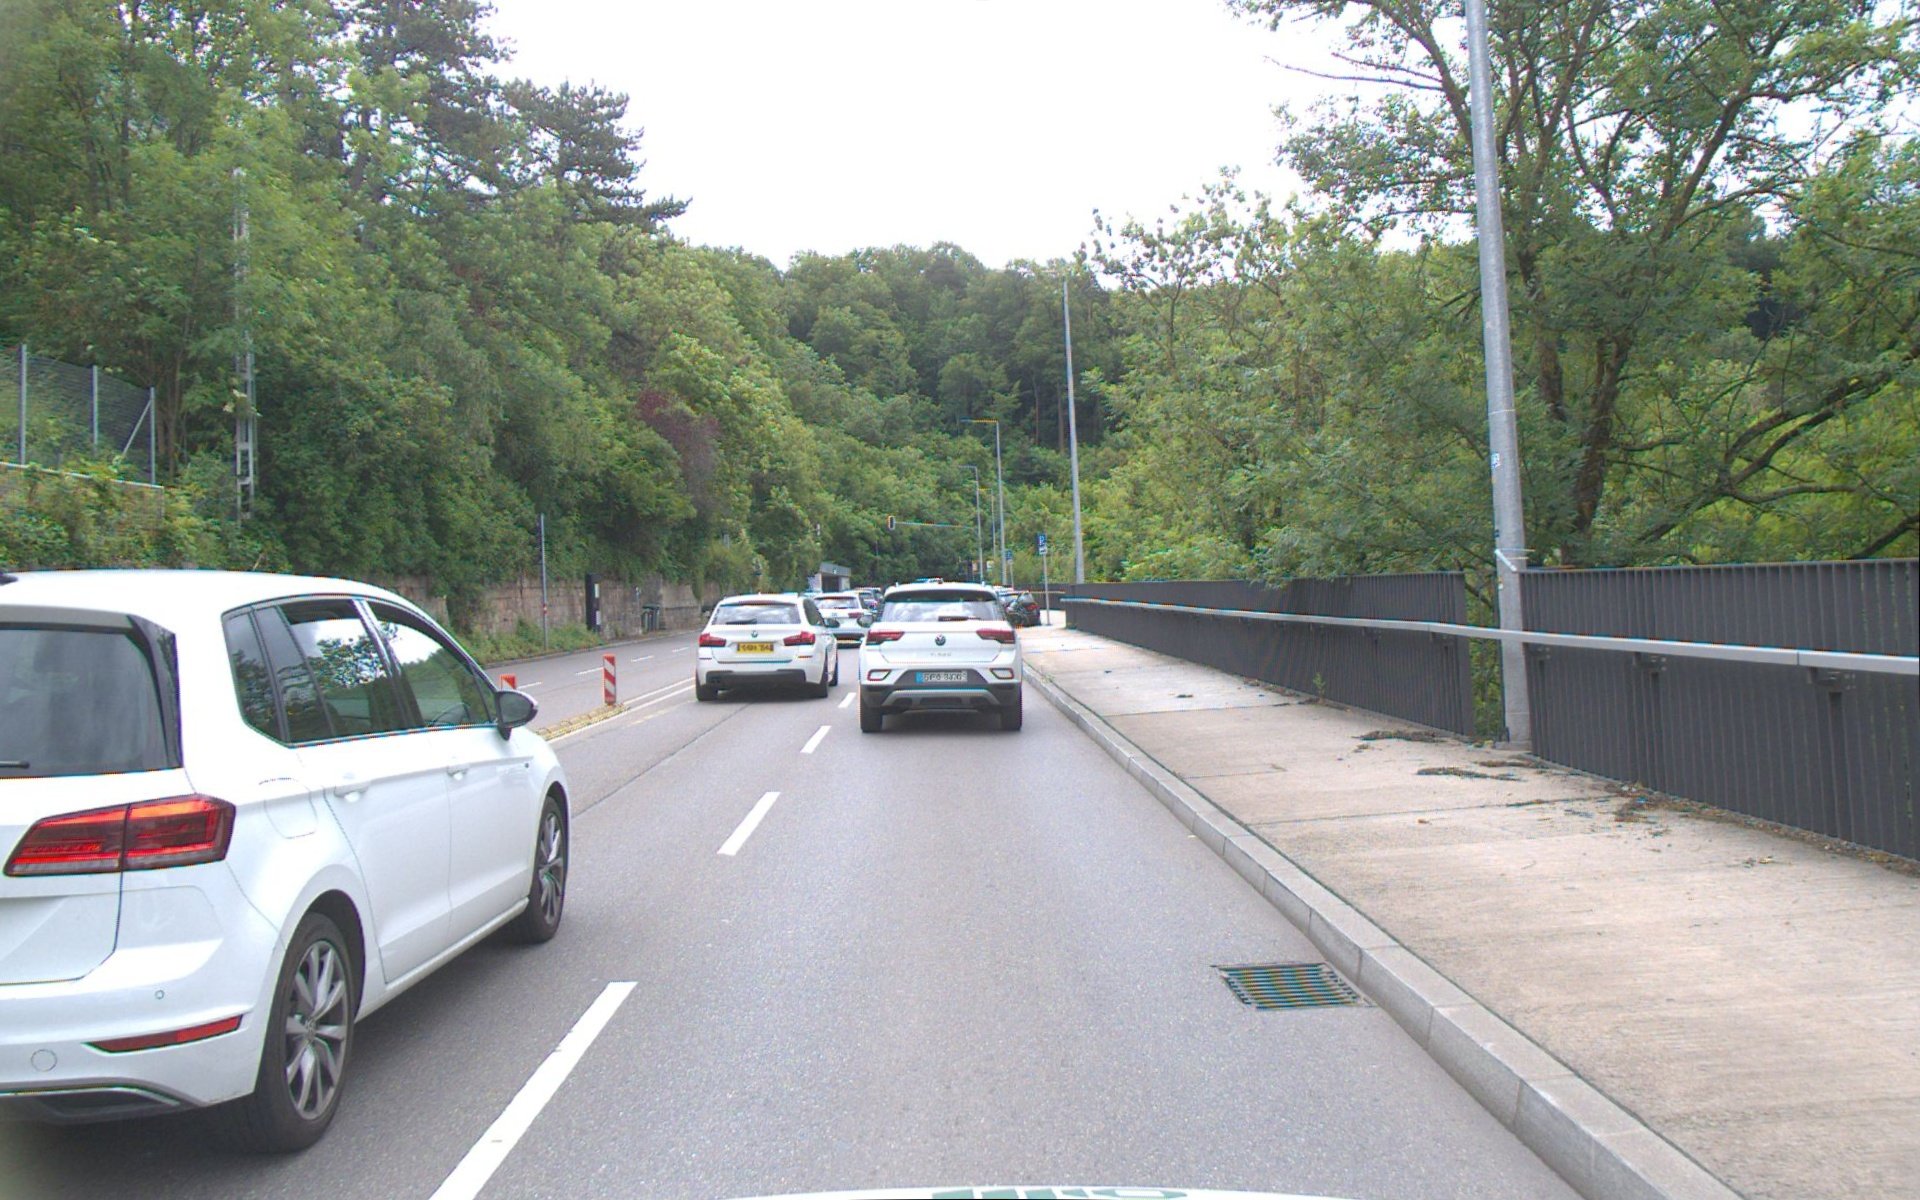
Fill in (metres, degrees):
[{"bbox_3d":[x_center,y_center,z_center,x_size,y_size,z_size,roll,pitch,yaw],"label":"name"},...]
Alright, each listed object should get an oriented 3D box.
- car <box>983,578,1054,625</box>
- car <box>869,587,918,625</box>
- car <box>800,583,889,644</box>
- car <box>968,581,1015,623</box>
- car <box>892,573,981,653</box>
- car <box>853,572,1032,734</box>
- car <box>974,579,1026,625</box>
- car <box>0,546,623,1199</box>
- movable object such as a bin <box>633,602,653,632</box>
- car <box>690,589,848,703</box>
[{"bbox_3d":[1.935,0.052,56.275,1.780,1.534,3.993,-1,0,-7],"label":"car"},{"bbox_3d":[-3.015,0.254,75.685,1.952,1.529,4.668,-2,1,1],"label":"car"},{"bbox_3d":[-3.117,0.332,45.573,1.952,1.529,4.669,-1,1,2],"label":"car"},{"bbox_3d":[1.395,0.049,74.219,1.953,1.748,4.114,-1,2,-1],"label":"car"},{"bbox_3d":[-0.517,0.277,40.186,1.952,1.748,4.114,-3,1,1],"label":"car"},{"bbox_3d":[-0.093,0.536,18.878,1.789,1.634,4.002,-1,0,3],"label":"car"},{"bbox_3d":[1.628,0.061,68.377,1.953,1.748,4.114,-1,2,-1],"label":"car"},{"bbox_3d":[-2.559,0.717,5.783,1.783,1.608,4.356,-1,0,1],"label":"car"},{"bbox_3d":[-12.976,0.703,67.718,0.702,1.195,0.675,-1,0,-1],"label":"movable object such as a bin"},{"bbox_3d":[-2.730,0.614,24.523,1.790,1.485,4.485,-2,0,0],"label":"car"}]
